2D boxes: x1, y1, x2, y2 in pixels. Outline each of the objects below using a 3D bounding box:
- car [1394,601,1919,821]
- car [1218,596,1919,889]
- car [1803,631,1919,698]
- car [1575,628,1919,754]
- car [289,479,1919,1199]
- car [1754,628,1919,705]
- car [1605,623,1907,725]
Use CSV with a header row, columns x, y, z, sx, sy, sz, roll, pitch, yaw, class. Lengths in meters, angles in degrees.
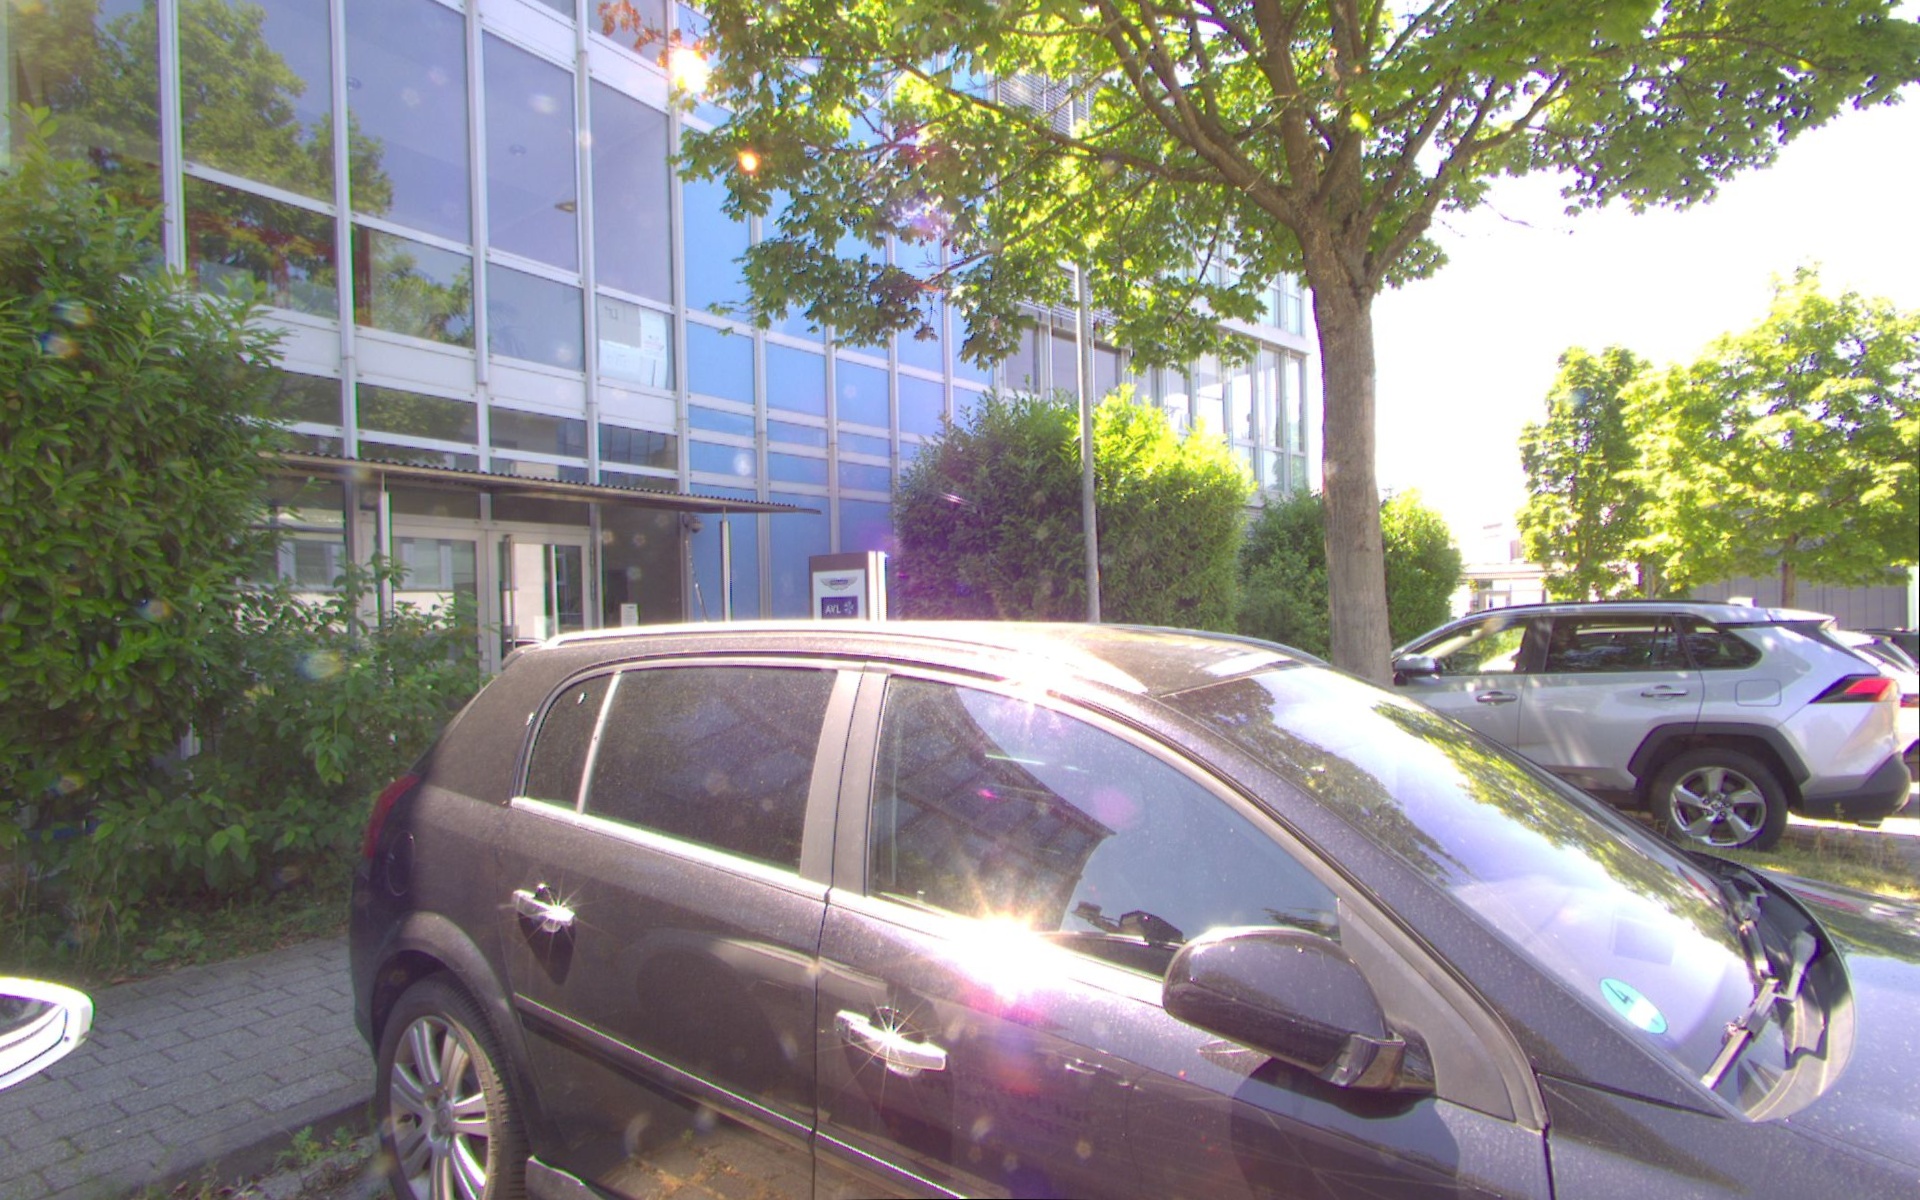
x,y,z,sx,sy,sz,roll,pitch,yaw,class
6.476,0.865,9.365,4.150,1.664,1.649,0,-1,39,car
4.402,0.829,7.751,4.278,1.664,1.844,0,-1,39,car
22.284,1.509,23.478,1.614,1.462,3.566,1,-1,-34,car
11.432,1.200,14.414,1.645,1.505,4.136,2,-1,-44,car
0.484,0.725,2.118,4.506,1.569,1.753,-1,-2,36,car
20.216,1.447,22.359,1.614,1.545,3.566,1,-1,-34,car
14.690,1.278,18.687,1.641,1.626,4.145,1,-1,-38,car
